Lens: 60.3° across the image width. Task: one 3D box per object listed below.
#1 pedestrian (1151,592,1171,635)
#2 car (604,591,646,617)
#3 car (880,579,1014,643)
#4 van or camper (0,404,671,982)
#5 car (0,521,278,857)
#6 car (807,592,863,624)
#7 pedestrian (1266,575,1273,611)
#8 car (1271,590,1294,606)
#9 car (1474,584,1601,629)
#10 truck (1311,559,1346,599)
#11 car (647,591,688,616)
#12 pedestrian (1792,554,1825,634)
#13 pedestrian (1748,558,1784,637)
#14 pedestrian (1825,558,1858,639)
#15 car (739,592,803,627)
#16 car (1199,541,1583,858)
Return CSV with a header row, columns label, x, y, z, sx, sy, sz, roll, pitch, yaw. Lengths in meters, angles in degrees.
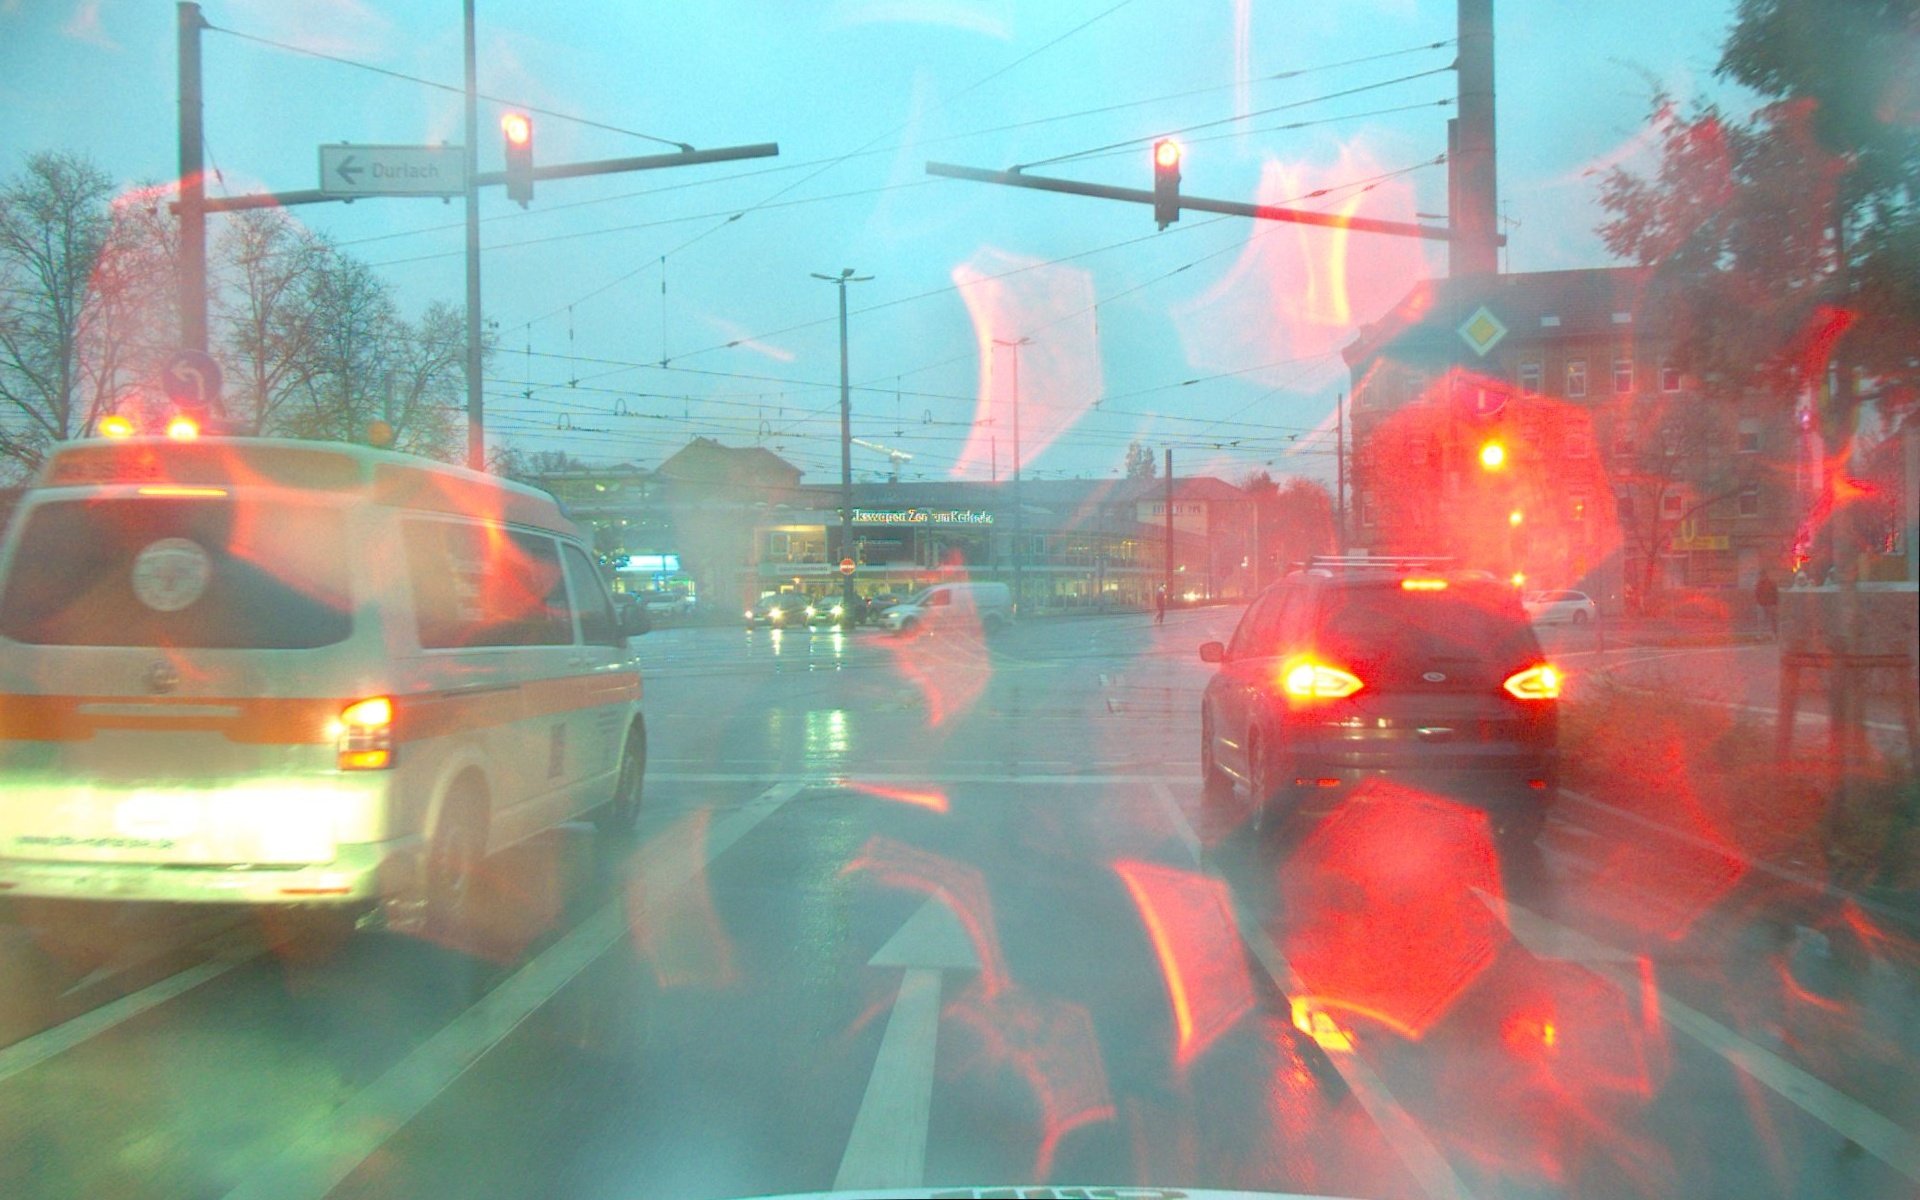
label,x,y,z,sx,sy,sz,roll,pitch,yaw
pedestrian,8.774,0.596,72.252,0.586,1.872,0.611,-1,0,-34
car,-22.422,0.253,110.779,1.823,1.629,4.001,-1,0,2
car,-0.459,0.407,57.705,4.331,2.049,1.902,1,-4,-16
van or camper,-3.101,0.344,8.690,2.156,2.146,4.988,1,0,1
car,-6.101,0.478,10.624,1.846,1.803,3.999,0,0,-1
car,-6.001,0.356,79.696,1.774,1.472,4.003,-1,0,9
pedestrian,17.818,-0.393,95.276,0.336,2.049,0.418,-1,0,16
car,32.936,-0.190,168.759,1.823,1.629,3.788,-1,0,18
car,22.910,0.248,65.652,4.727,1.686,1.730,-1,0,-20
truck,25.997,-1.458,116.460,1.951,2.738,5.118,-1,0,17
car,-19.538,0.239,110.542,1.823,1.629,4.001,-1,0,2
pedestrian,21.129,-0.150,41.185,0.663,1.984,0.661,-1,0,29
pedestrian,20.484,-0.060,42.025,0.665,1.984,0.674,-1,-1,38
pedestrian,21.722,-0.037,40.756,0.663,1.984,0.661,-1,0,27
car,-8.321,0.400,73.030,1.774,1.472,4.003,-1,0,9
car,2.816,0.556,11.811,1.741,1.832,4.426,0,1,2
